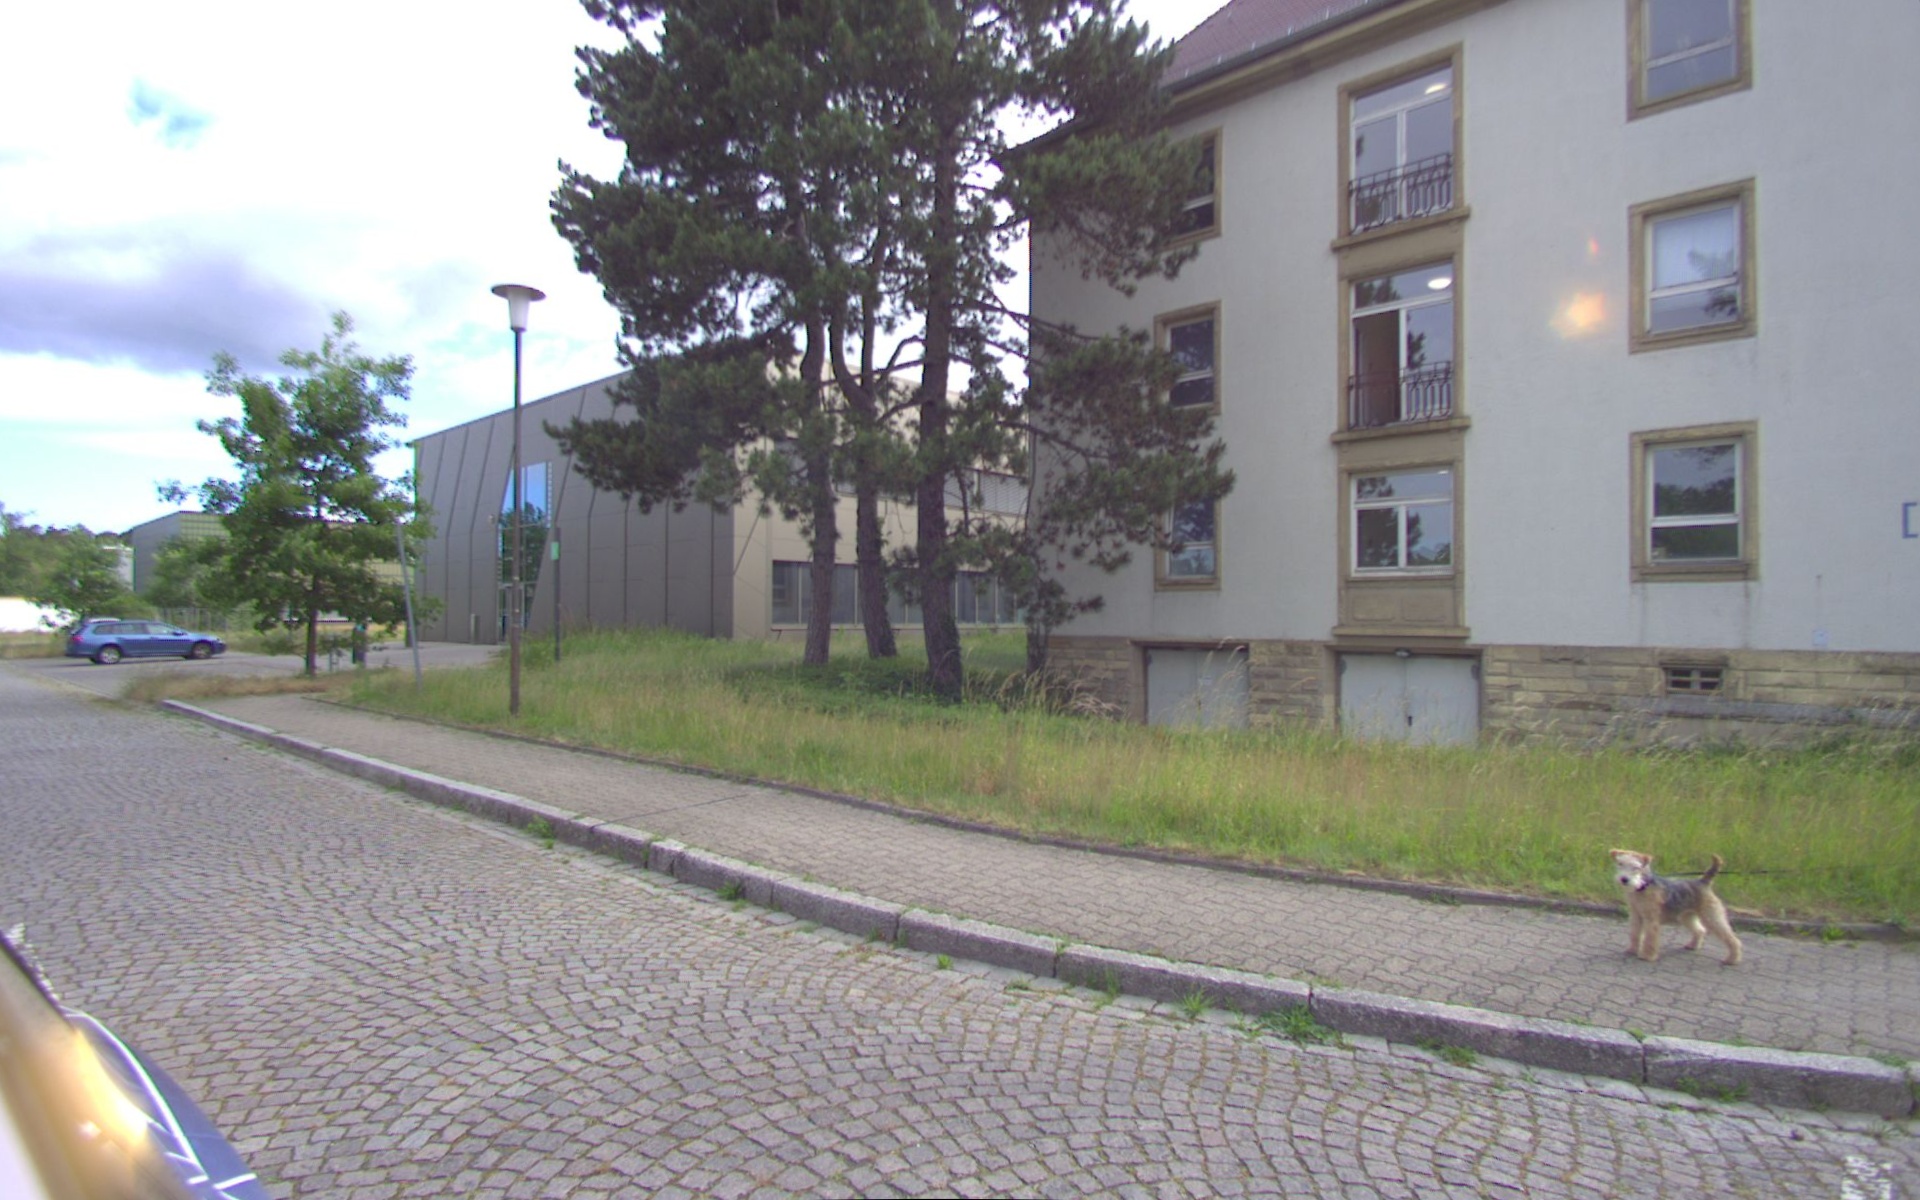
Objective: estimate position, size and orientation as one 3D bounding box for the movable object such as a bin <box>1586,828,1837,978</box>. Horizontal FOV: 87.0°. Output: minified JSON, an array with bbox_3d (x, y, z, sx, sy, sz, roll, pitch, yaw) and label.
[{"bbox_3d":[3.247,1.303,4.415,0.743,0.507,0.444,0,-2,6],"label":"movable object such as a bin"}]

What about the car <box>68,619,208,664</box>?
[{"bbox_3d":[-33.530,1.652,41.345,4.338,1.557,1.844,-2,0,-41],"label":"car"}]

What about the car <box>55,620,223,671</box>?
[{"bbox_3d":[-28.837,1.556,35.655,1.715,1.521,4.349,-1,1,39],"label":"car"}]
